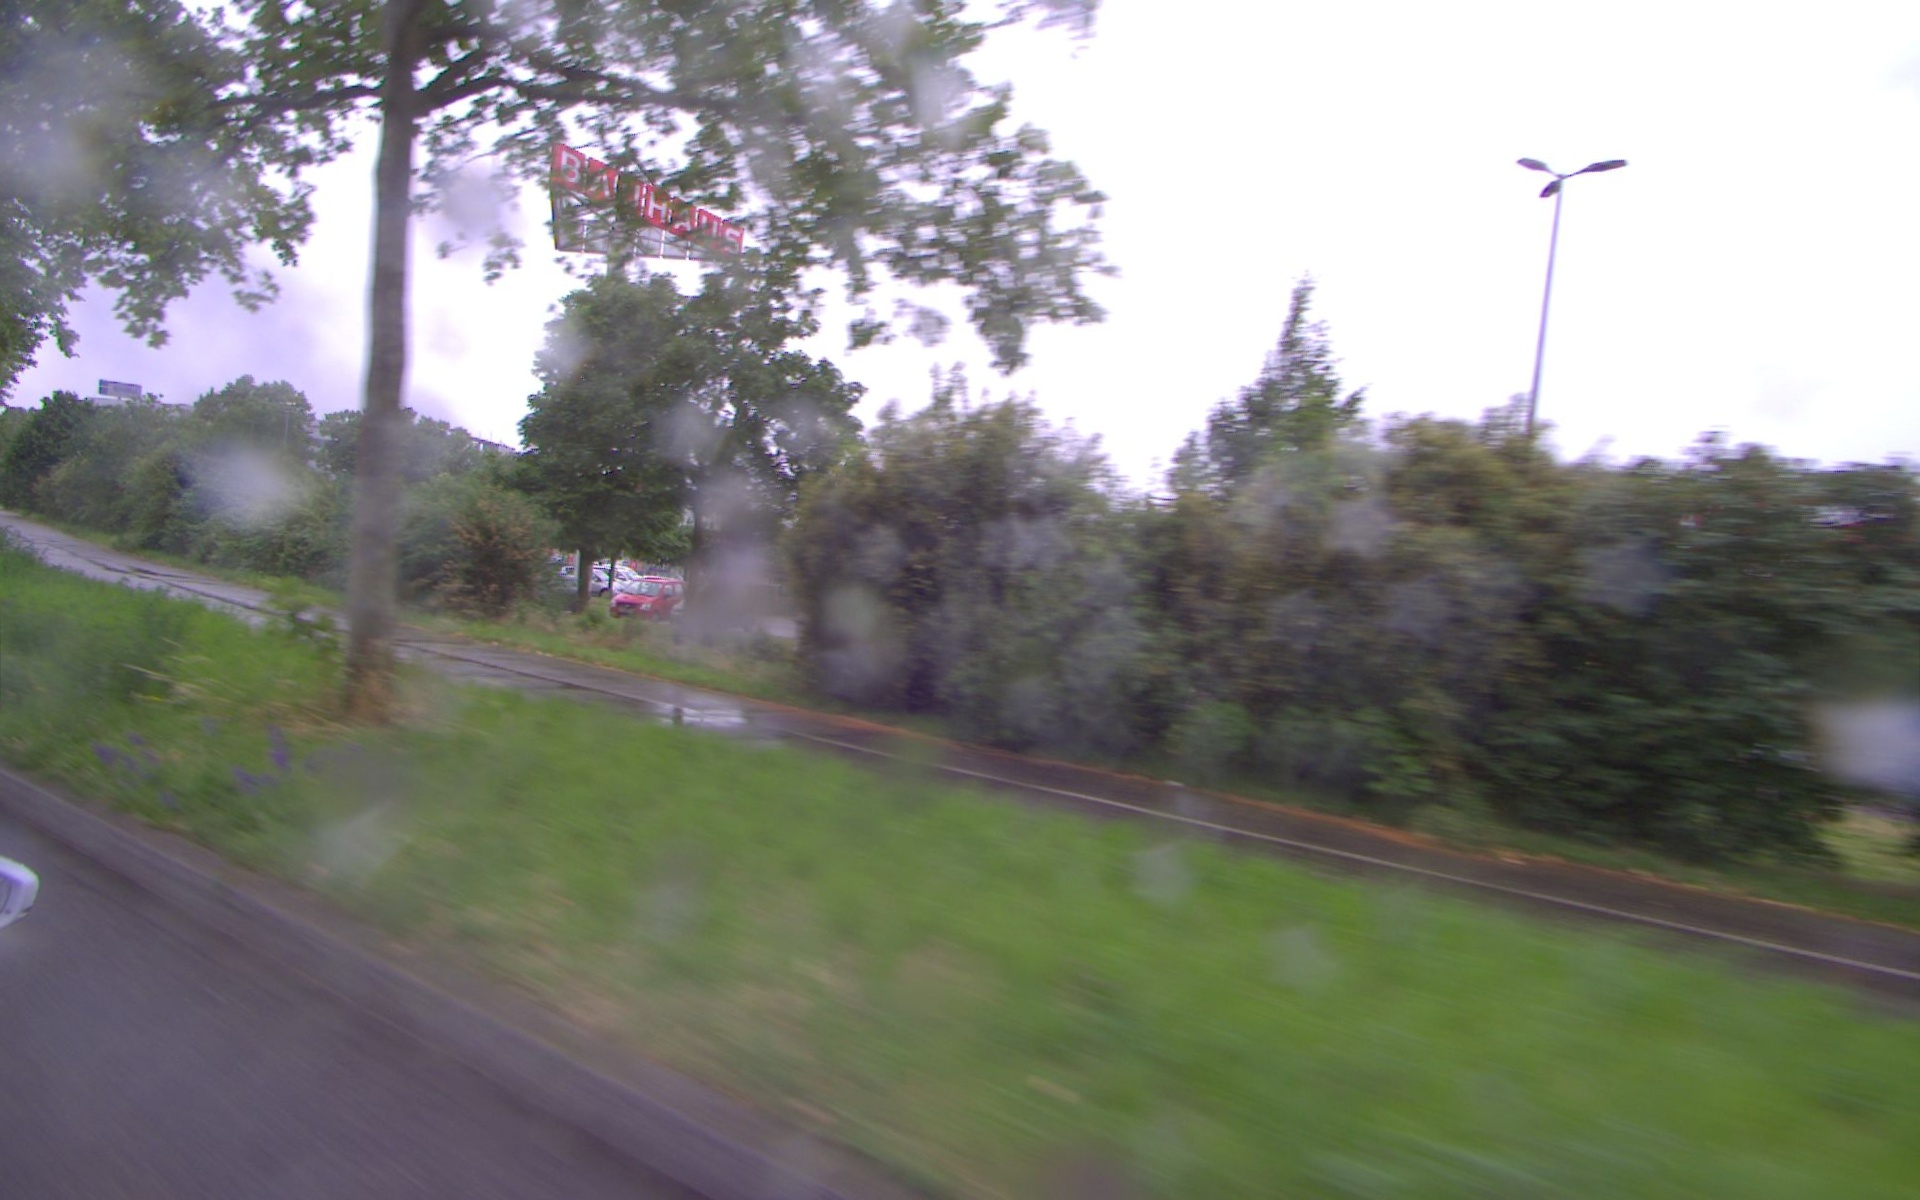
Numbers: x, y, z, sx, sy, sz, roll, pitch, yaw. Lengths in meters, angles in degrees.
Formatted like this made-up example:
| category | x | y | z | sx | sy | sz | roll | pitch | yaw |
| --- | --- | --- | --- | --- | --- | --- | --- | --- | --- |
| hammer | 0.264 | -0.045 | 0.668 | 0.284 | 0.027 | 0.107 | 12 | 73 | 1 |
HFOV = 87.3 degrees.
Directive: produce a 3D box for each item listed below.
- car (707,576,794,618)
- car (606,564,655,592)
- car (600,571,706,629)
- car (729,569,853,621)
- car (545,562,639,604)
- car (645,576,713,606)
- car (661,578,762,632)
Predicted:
| category | x | y | z | sx | sy | sz | roll | pitch | yaw |
| --- | --- | --- | --- | --- | --- | --- | --- | --- | --- |
| car | -12.991 | -0.172 | 62.442 | 4.663 | 1.921 | 2.001 | 7 | -1 | 16 |
| car | -30.691 | -2.065 | 93.836 | 3.716 | 2.037 | 1.901 | 7 | -1 | 10 |
| car | -10.773 | 0.068 | 35.659 | 1.721 | 1.694 | 4.298 | 7 | -1 | 9 |
| car | -11.145 | -0.318 | 66.558 | 7.429 | 2.384 | 2.590 | 8 | -1 | 12 |
| car | -20.129 | -0.935 | 55.101 | 4.257 | 1.654 | 1.940 | 8 | -1 | 4 |
| car | -19.213 | -0.586 | 68.847 | 3.954 | 1.472 | 1.807 | 8 | -1 | 11 |
| car | -8.511 | 0.218 | 34.859 | 1.721 | 1.537 | 4.298 | 7 | -1 | 9 |
